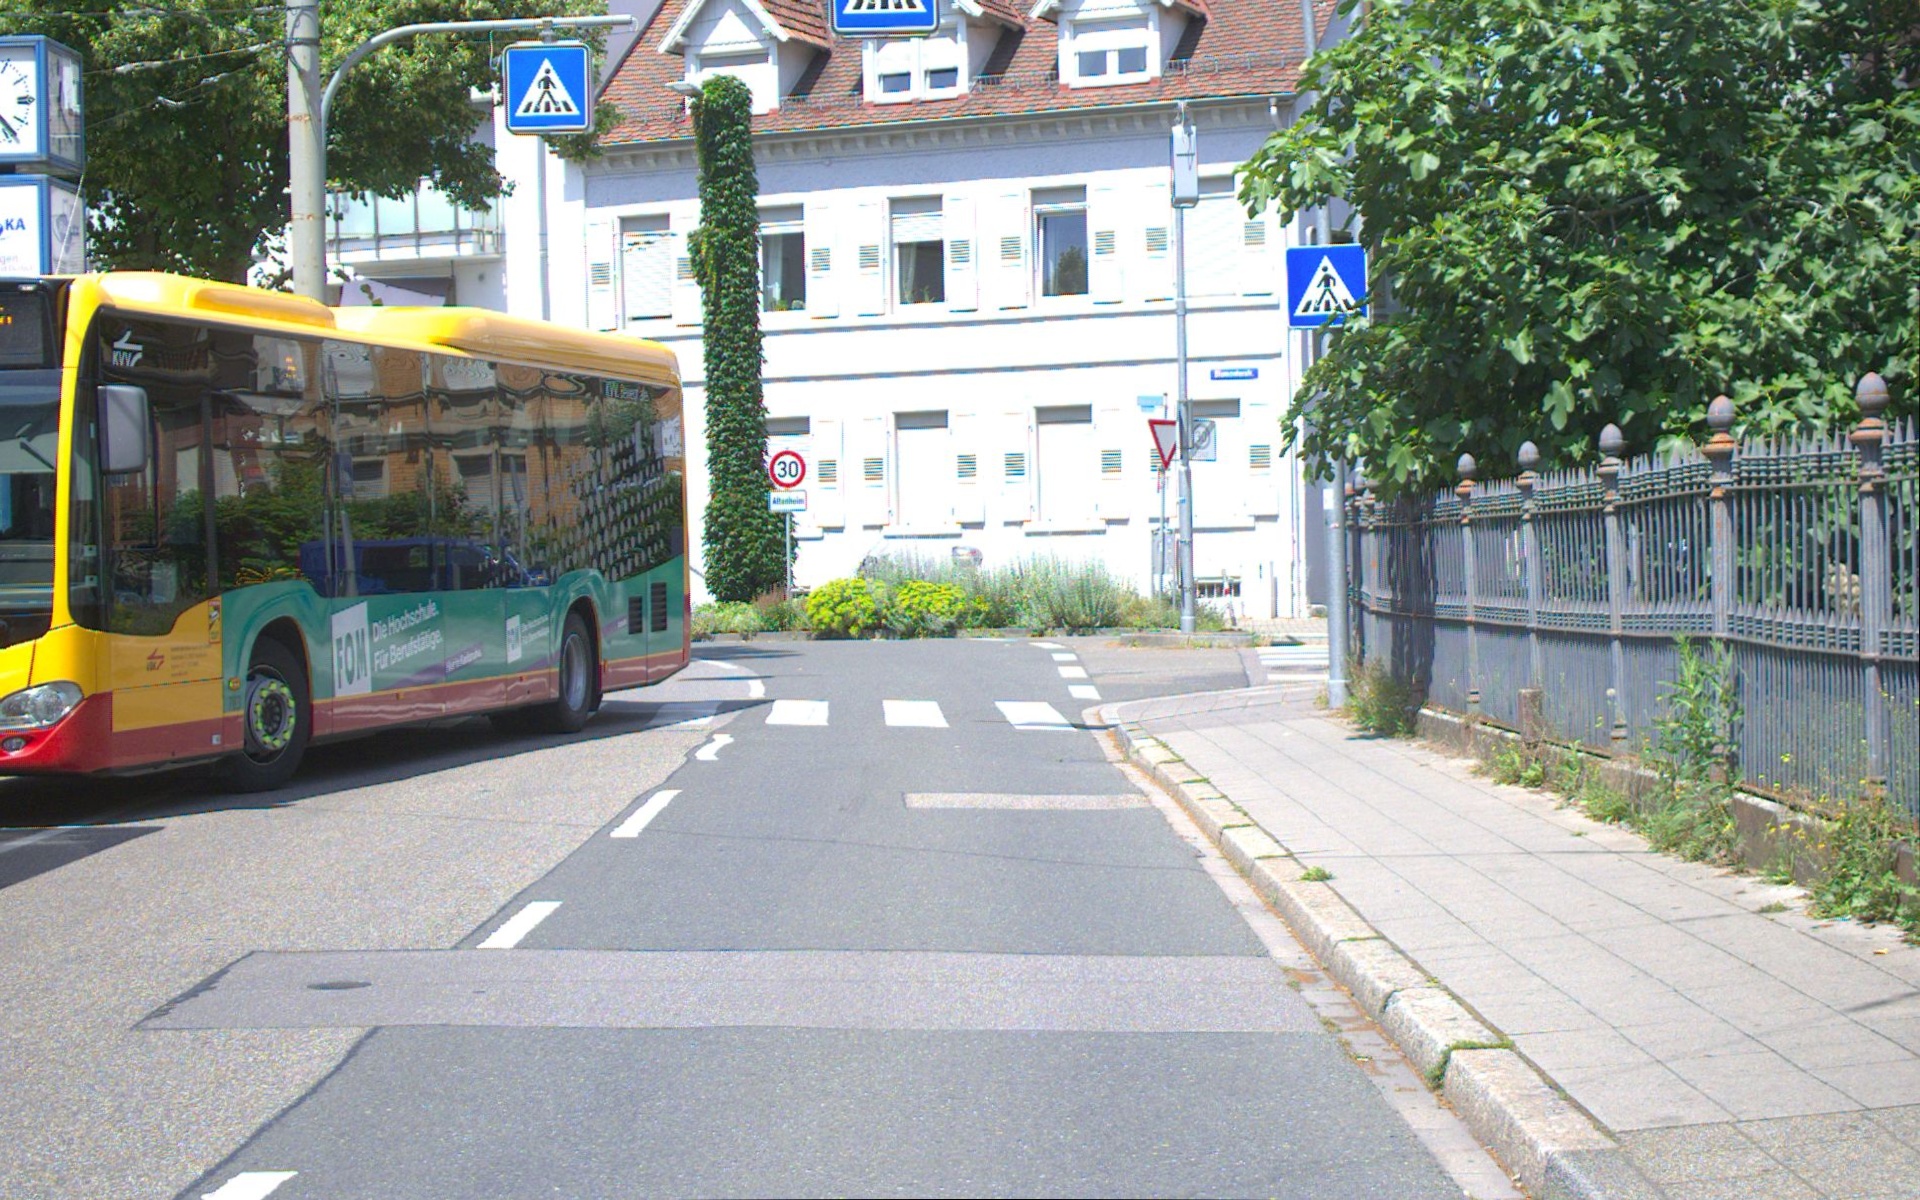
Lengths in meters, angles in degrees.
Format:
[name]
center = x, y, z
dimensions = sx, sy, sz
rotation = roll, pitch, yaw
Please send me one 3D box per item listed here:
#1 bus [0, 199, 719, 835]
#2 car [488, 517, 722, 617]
[bus]
center = -4.633, -0.576, 23.590
dimensions = 2.781, 3.197, 12.301
rotation = 1, 1, 11
[car]
center = -5.888, -0.536, 56.982
dimensions = 3.612, 1.581, 1.581
rotation = 0, -1, 31
